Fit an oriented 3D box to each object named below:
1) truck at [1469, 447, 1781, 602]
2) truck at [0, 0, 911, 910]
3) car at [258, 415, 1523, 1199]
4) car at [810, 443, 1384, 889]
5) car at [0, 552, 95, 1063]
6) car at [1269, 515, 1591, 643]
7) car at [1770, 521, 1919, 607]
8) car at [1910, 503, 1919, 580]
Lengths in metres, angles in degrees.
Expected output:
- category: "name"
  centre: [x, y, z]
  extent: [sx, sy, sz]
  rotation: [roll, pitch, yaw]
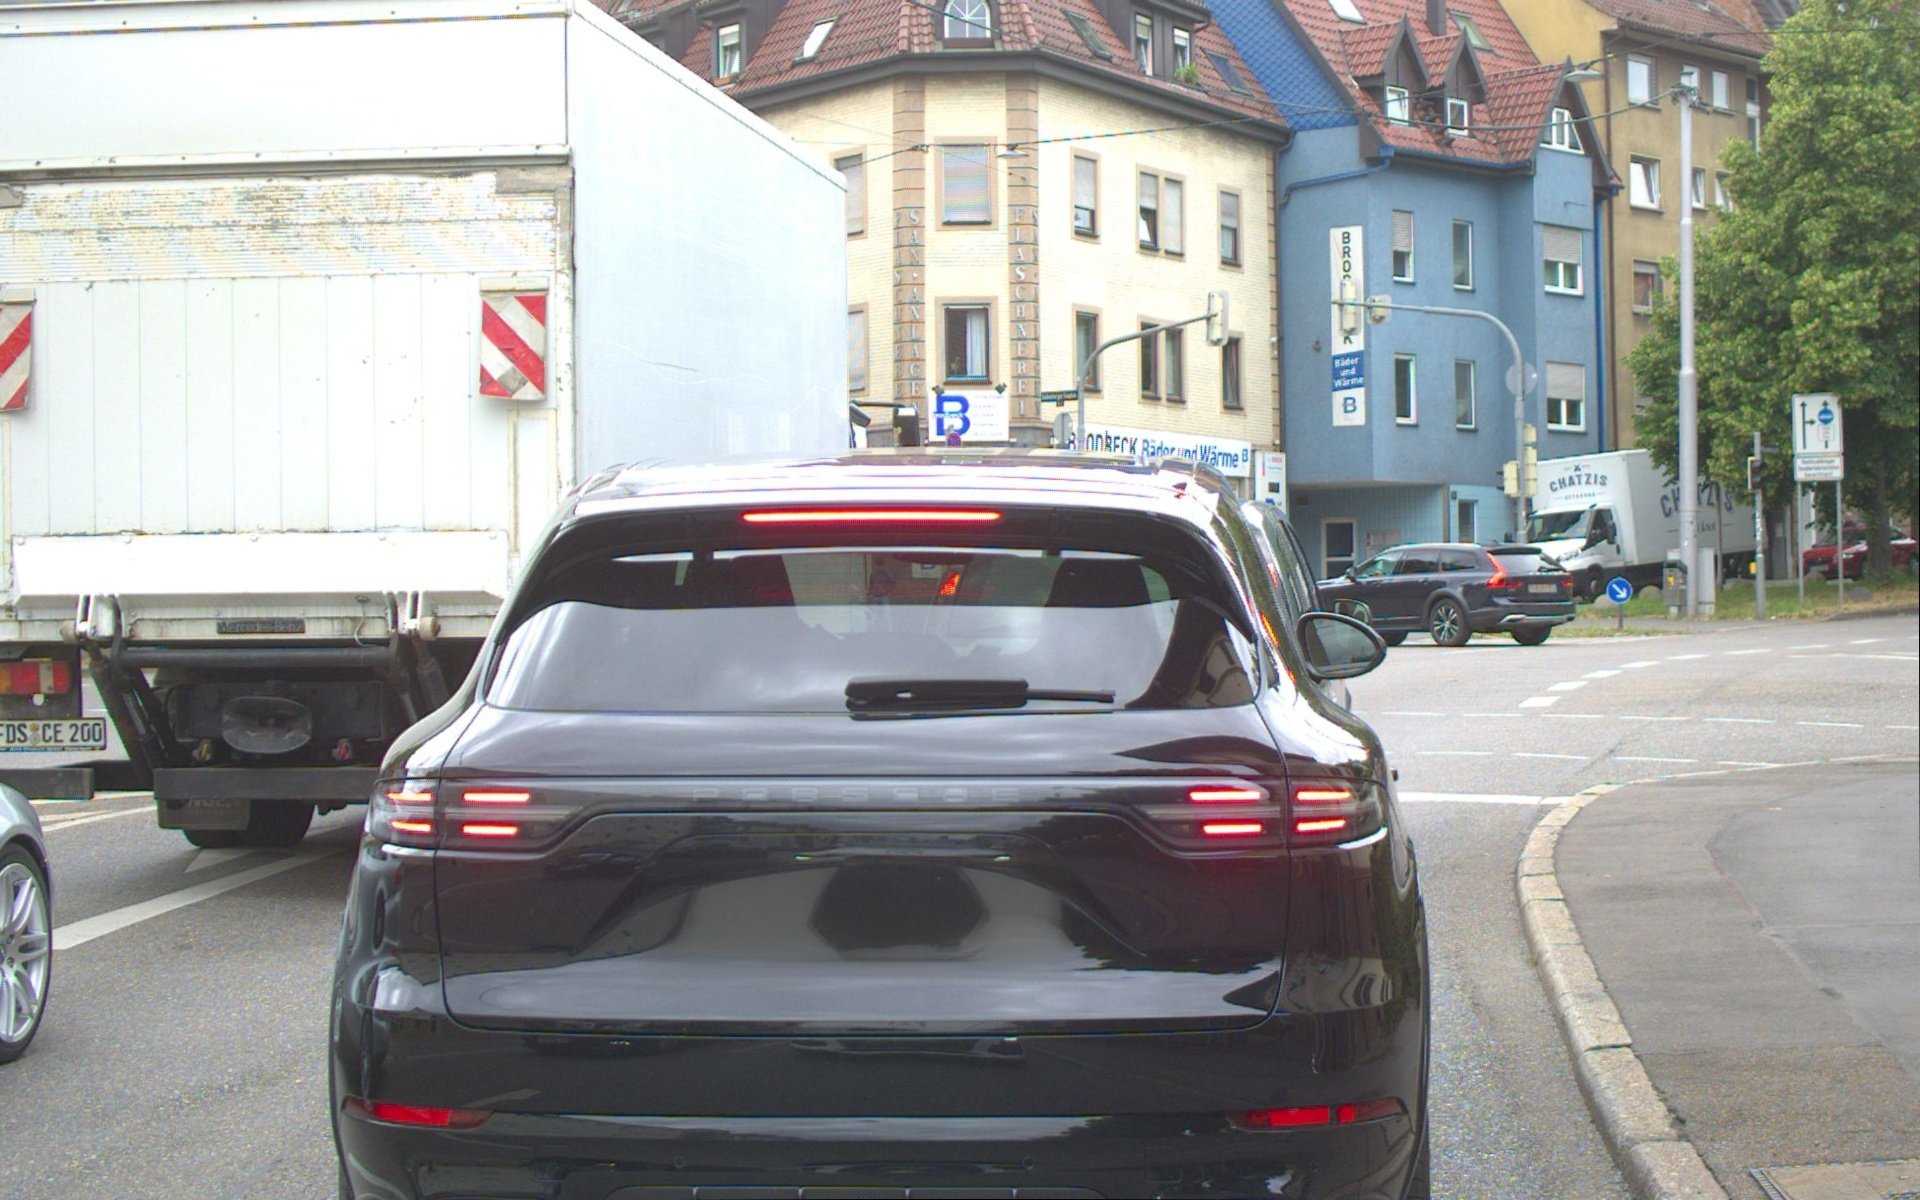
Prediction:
- category: "truck"
  centre: [15.336, -1.682, 78.741]
  extent: [2.880, 3.328, 8.772]
  rotation: [2, 1, 41]
- category: "truck"
  centre: [-2.238, -0.714, 17.201]
  extent: [2.770, 3.562, 8.062]
  rotation: [0, 1, 8]
- category: "car"
  centre: [-0.216, 0.496, 7.393]
  extent: [1.978, 1.678, 4.001]
  rotation: [0, 2, -3]
- category: "car"
  centre: [0.751, 0.224, 15.076]
  extent: [1.994, 1.678, 3.998]
  rotation: [0, 1, 10]
- category: "car"
  centre: [-3.531, 0.605, 8.076]
  extent: [1.696, 1.368, 4.177]
  rotation: [0, 2, 4]
- category: "car"
  centre: [6.851, -0.270, 50.557]
  extent: [1.923, 1.766, 4.649]
  rotation: [1, -1, -38]
- category: "car"
  centre: [22.254, -0.896, 86.265]
  extent: [1.999, 2.007, 3.990]
  rotation: [2, 1, 43]
- category: "car"
  centre: [27.101, -1.479, 91.165]
  extent: [1.999, 2.007, 3.990]
  rotation: [2, 1, 43]
